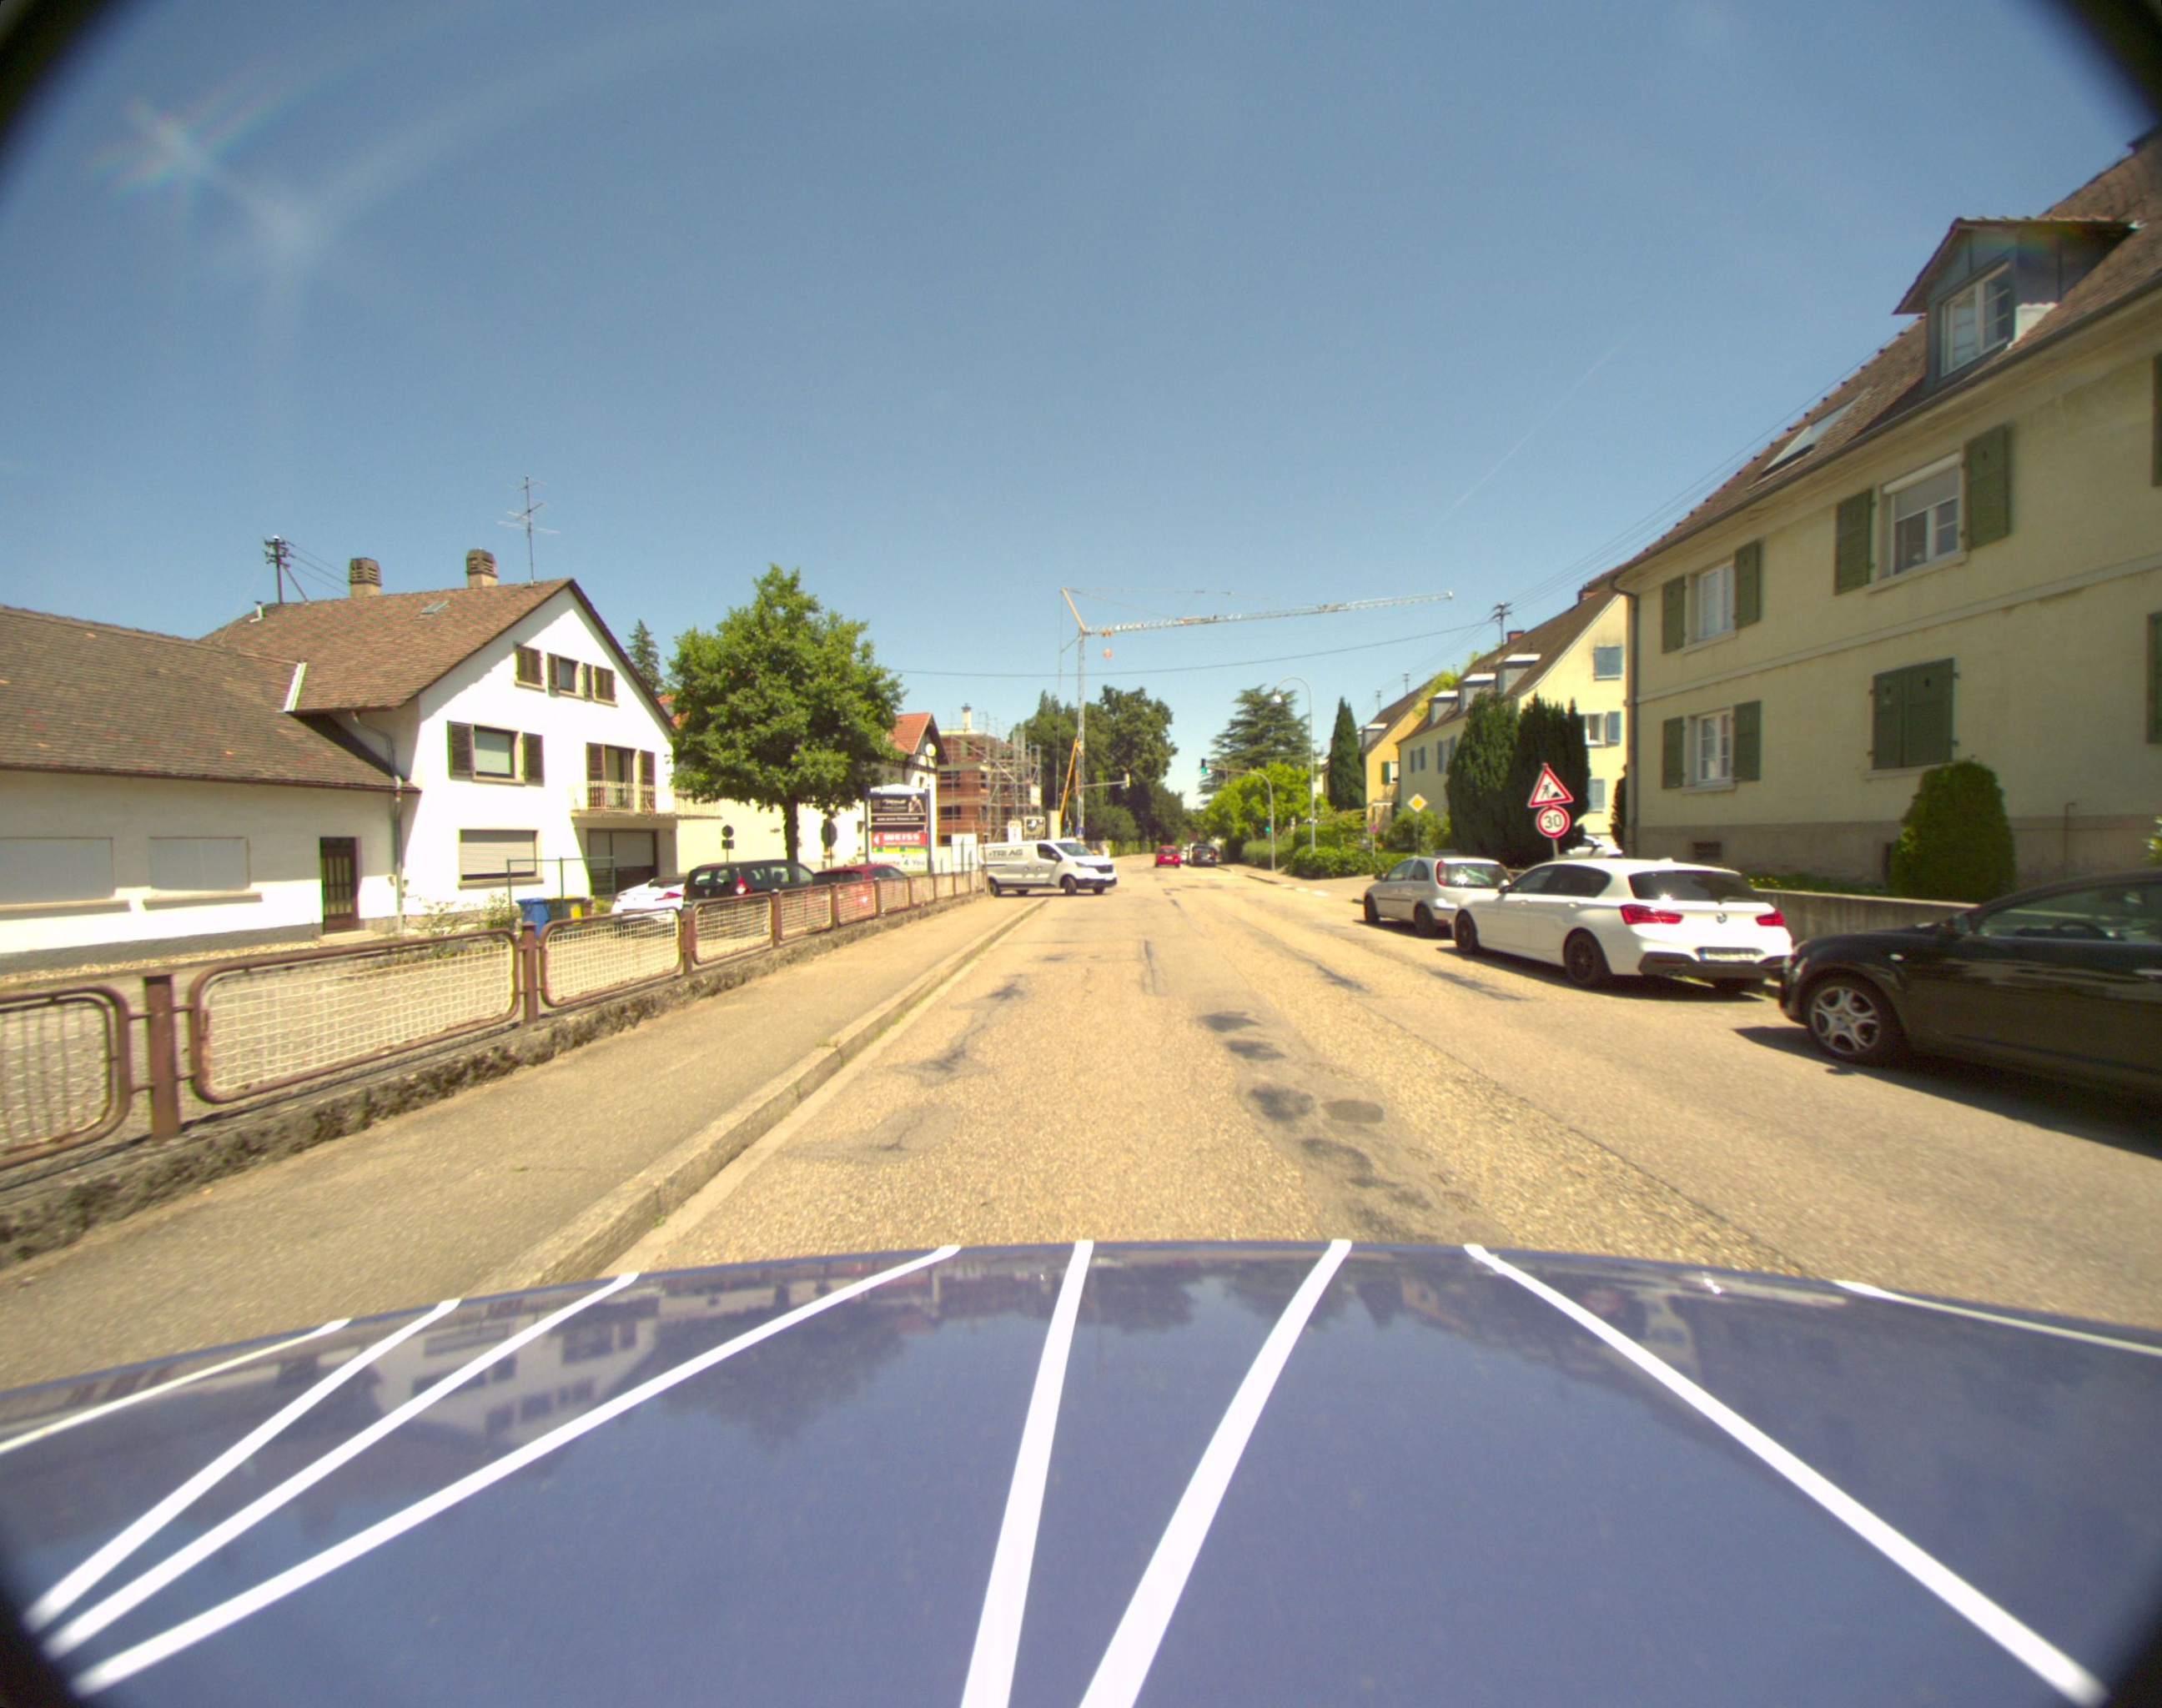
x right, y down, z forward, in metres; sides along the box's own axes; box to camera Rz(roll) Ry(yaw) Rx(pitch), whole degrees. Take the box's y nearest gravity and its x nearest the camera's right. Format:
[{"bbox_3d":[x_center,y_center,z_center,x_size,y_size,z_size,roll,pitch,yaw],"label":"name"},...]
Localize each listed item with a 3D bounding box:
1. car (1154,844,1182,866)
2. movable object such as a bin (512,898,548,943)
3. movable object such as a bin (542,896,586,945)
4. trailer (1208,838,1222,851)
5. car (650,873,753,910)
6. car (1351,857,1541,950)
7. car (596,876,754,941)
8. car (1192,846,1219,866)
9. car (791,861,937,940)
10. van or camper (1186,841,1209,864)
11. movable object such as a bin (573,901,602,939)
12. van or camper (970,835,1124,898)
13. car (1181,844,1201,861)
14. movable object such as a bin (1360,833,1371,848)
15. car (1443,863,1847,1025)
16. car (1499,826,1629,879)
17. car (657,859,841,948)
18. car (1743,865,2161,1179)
[{"bbox_3d":[6.437,0.042,56.548,1.818,1.557,3.696,0,1,2],"label":"car"},{"bbox_3d":[-12.474,1.502,17.209,0.452,0.964,0.416,-1,2,10],"label":"movable object such as a bin"},{"bbox_3d":[-11.709,1.490,17.217,0.491,1.041,0.640,-1,2,10],"label":"movable object such as a bin"},{"bbox_3d":[20.709,-1.478,117.179,1.816,2.022,4.003,2,2,13],"label":"trailer"},{"bbox_3d":[-17.658,1.745,35.396,3.890,1.435,1.817,-3,1,10],"label":"car"},{"bbox_3d":[6.696,0.821,14.466,1.763,1.439,3.923,0,1,1],"label":"car"},{"bbox_3d":[-9.853,1.278,18.744,1.715,1.263,3.386,-2,1,9],"label":"car"},{"bbox_3d":[9.483,0.113,58.083,1.684,1.404,3.927,1,1,5],"label":"car"},{"bbox_3d":[-4.875,0.990,17.655,1.715,1.515,3.841,-1,1,10],"label":"car"},{"bbox_3d":[9.654,-0.163,63.105,1.684,1.794,3.986,1,1,6],"label":"van or camper"},{"bbox_3d":[-11.603,1.547,17.864,0.397,0.849,0.386,-1,2,10],"label":"movable object such as a bin"},{"bbox_3d":[-1.305,0.466,27.321,5.347,1.968,2.003,-2,3,38],"label":"van or camper"},{"bbox_3d":[9.864,-0.188,68.336,1.684,1.433,4.249,1,1,8],"label":"car"},{"bbox_3d":[21.832,-1.035,58.319,0.622,1.190,0.674,-1,2,6],"label":"movable object such as a bin"},{"bbox_3d":[6.304,0.870,9.254,1.799,1.394,4.218,0,1,1],"label":"car"},{"bbox_3d":[16.228,-0.080,25.686,3.208,1.448,1.735,-5,2,9],"label":"car"},{"bbox_3d":[-7.538,1.044,17.838,1.715,1.656,4.462,-3,1,9],"label":"car"},{"bbox_3d":[6.232,0.873,4.109,1.720,1.477,4.075,1,1,0],"label":"car"}]
